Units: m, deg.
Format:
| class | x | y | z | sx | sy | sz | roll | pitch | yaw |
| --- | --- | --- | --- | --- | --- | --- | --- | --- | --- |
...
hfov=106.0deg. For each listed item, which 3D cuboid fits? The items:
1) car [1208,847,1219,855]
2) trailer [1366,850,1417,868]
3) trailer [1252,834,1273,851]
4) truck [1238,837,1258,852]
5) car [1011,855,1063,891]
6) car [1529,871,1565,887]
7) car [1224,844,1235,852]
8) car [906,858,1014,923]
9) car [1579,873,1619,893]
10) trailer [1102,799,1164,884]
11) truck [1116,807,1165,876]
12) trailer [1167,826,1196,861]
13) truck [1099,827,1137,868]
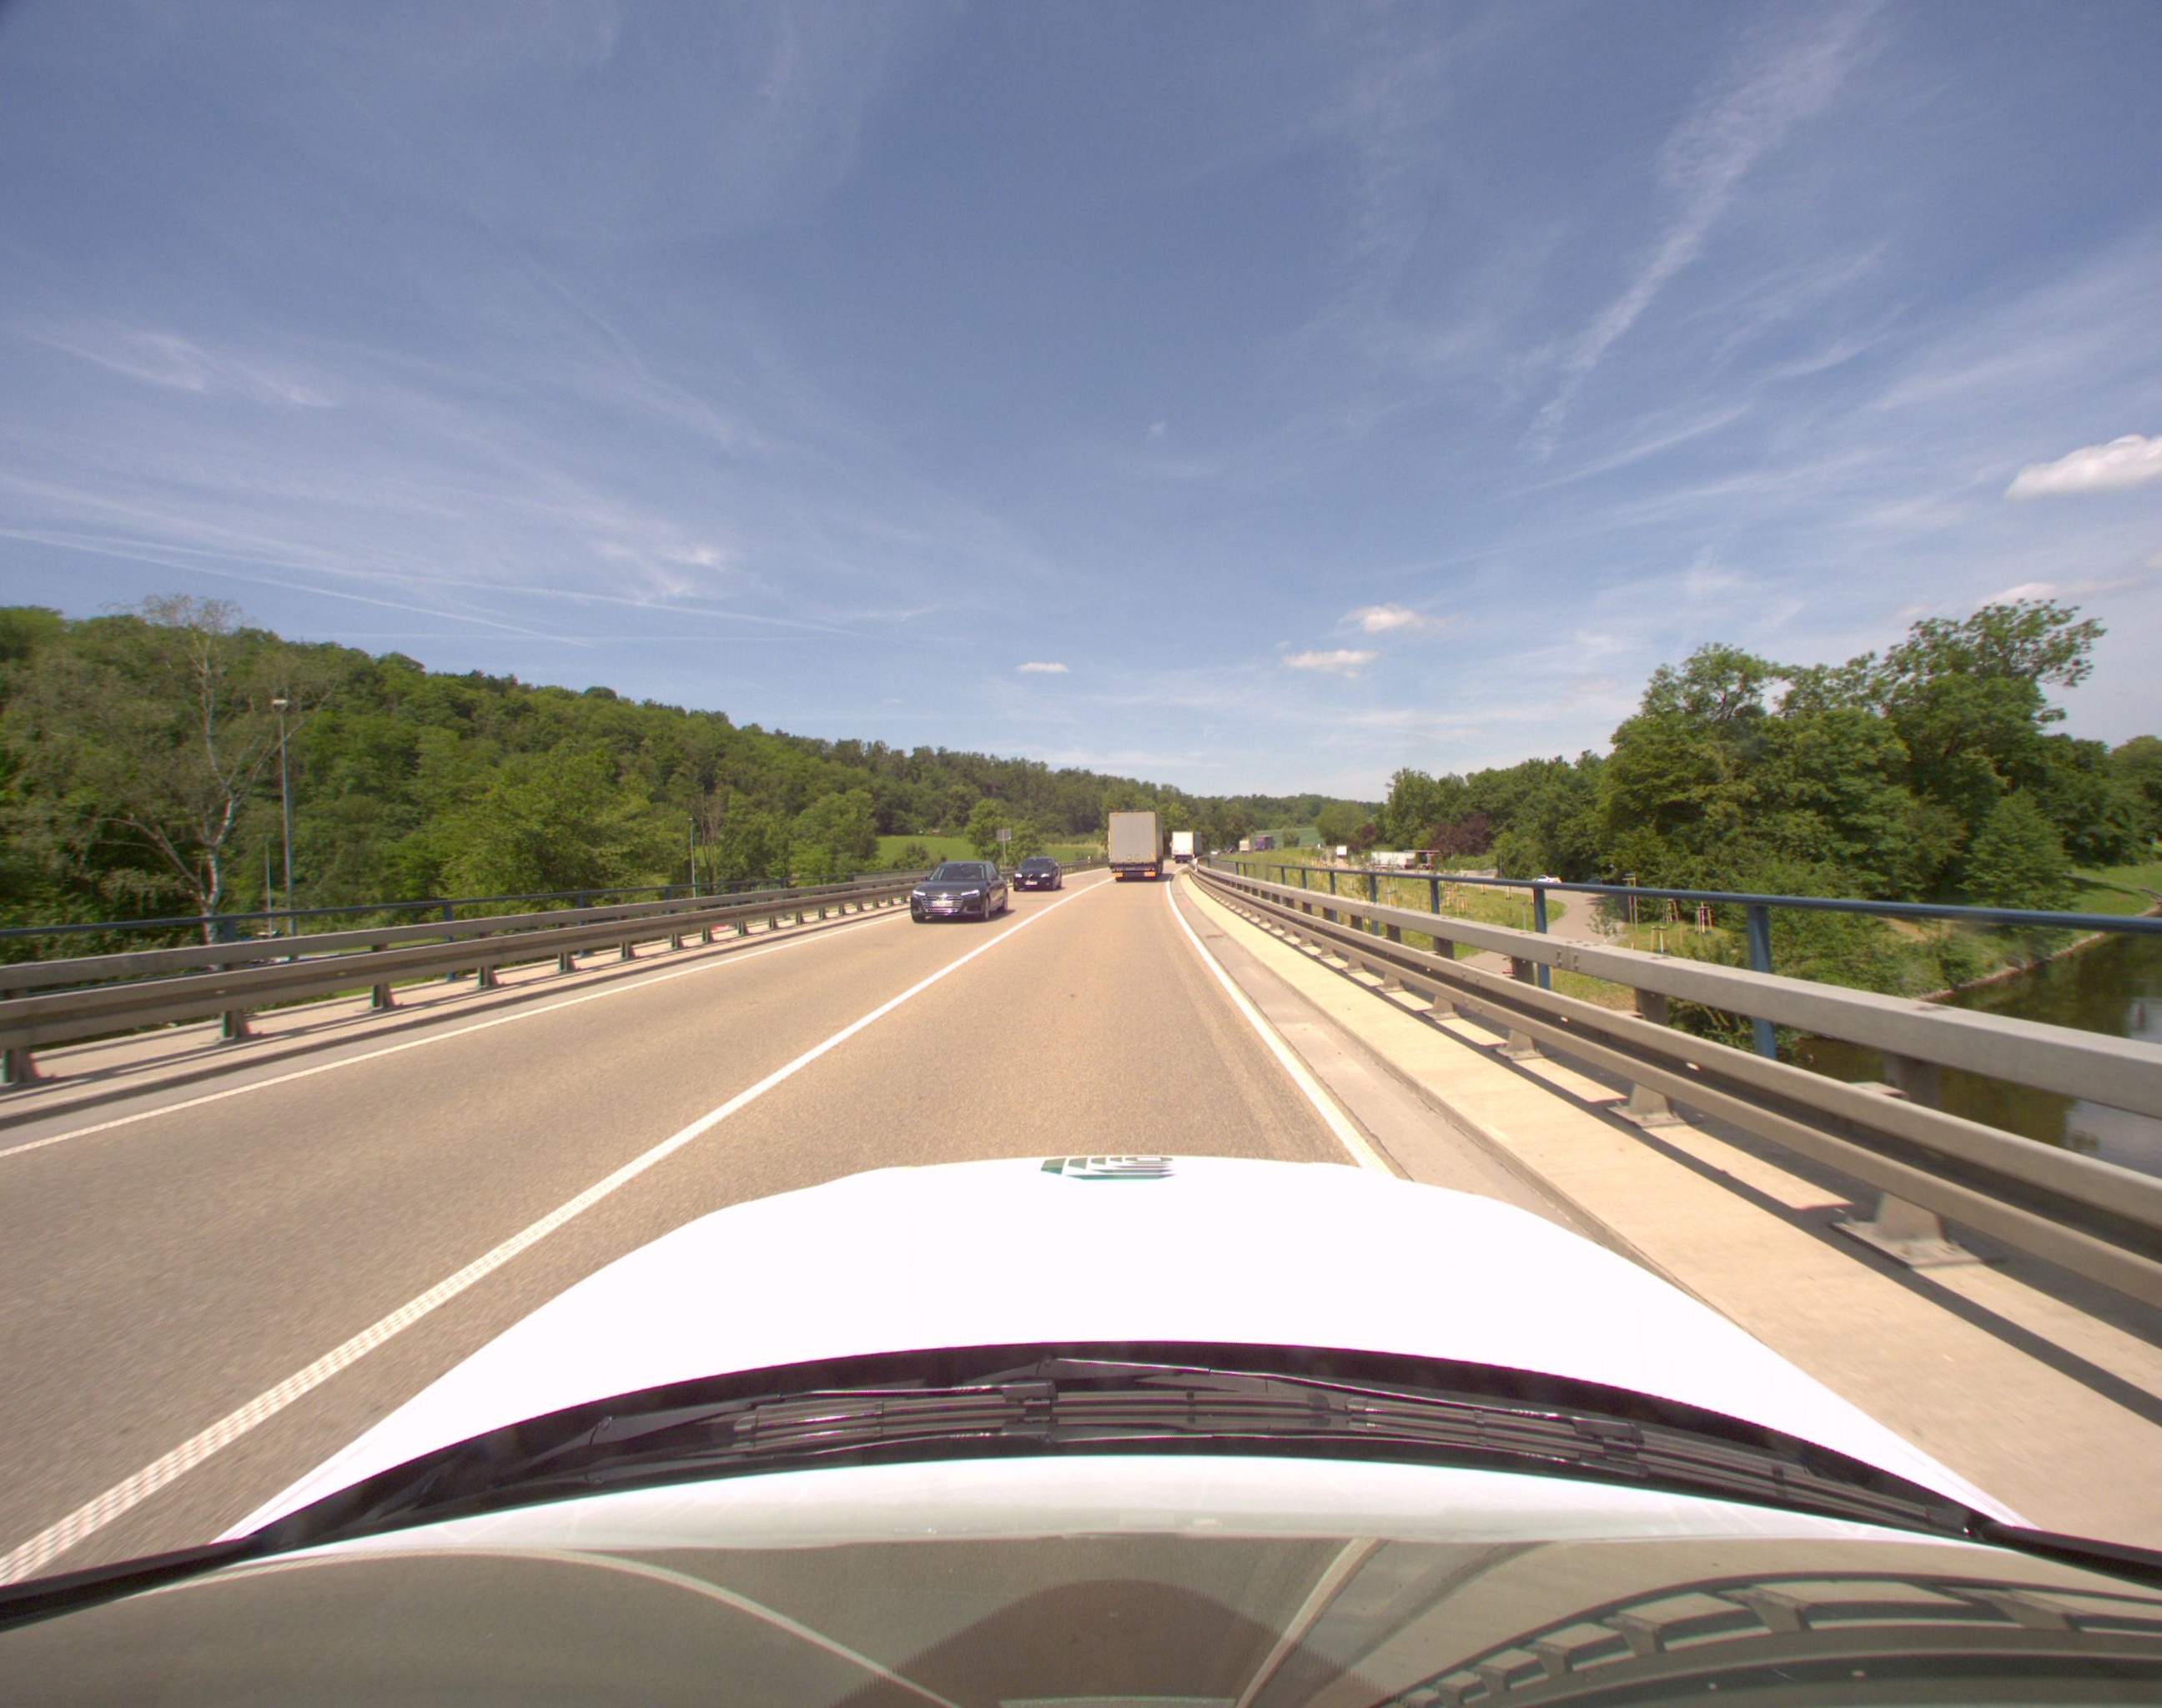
| class | x | y | z | sx | sy | sz | roll | pitch | yaw |
| --- | --- | --- | --- | --- | --- | --- | --- | --- | --- |
| car | 27.661 | -0.645 | 169.717 | 1.754 | 1.494 | 4.188 | -1 | 0 | 17 |
| trailer | 59.571 | 0.924 | 156.579 | 2.723 | 3.327 | 11.836 | -1 | 1 | -15 |
| trailer | 46.469 | -2.868 | 208.406 | 3.617 | 4.263 | 12.257 | -1 | 0 | 21 |
| truck | 38.332 | -2.138 | 186.723 | 3.197 | 3.365 | 11.930 | -1 | 0 | 18 |
| car | -1.878 | 0.812 | 36.355 | 1.713 | 1.482 | 4.575 | -1 | 0 | 4 |
| car | 54.392 | 2.891 | 95.168 | 1.849 | 1.482 | 4.614 | -5 | 0 | 5 |
| car | 34.309 | -1.340 | 187.839 | 1.906 | 1.860 | 5.199 | -1 | 0 | 18 |
| car | -2.952 | 0.841 | 20.824 | 1.713 | 1.435 | 4.622 | -1 | 0 | 4 |
| car | 53.319 | 2.979 | 83.905 | 1.847 | 1.682 | 4.208 | -5 | 1 | 7 |
| trailer | 3.496 | -0.762 | 50.679 | 3.102 | 4.499 | 13.912 | -1 | 1 | 7 |
| truck | 4.279 | -0.862 | 57.239 | 3.102 | 4.494 | 6.824 | -1 | 1 | 7 |
| trailer | 13.357 | -1.280 | 107.453 | 3.346 | 4.317 | 13.896 | -1 | 0 | 8 |
| truck | 3.840 | -0.658 | 81.299 | 2.898 | 3.803 | 9.729 | -1 | 0 | 7 |
